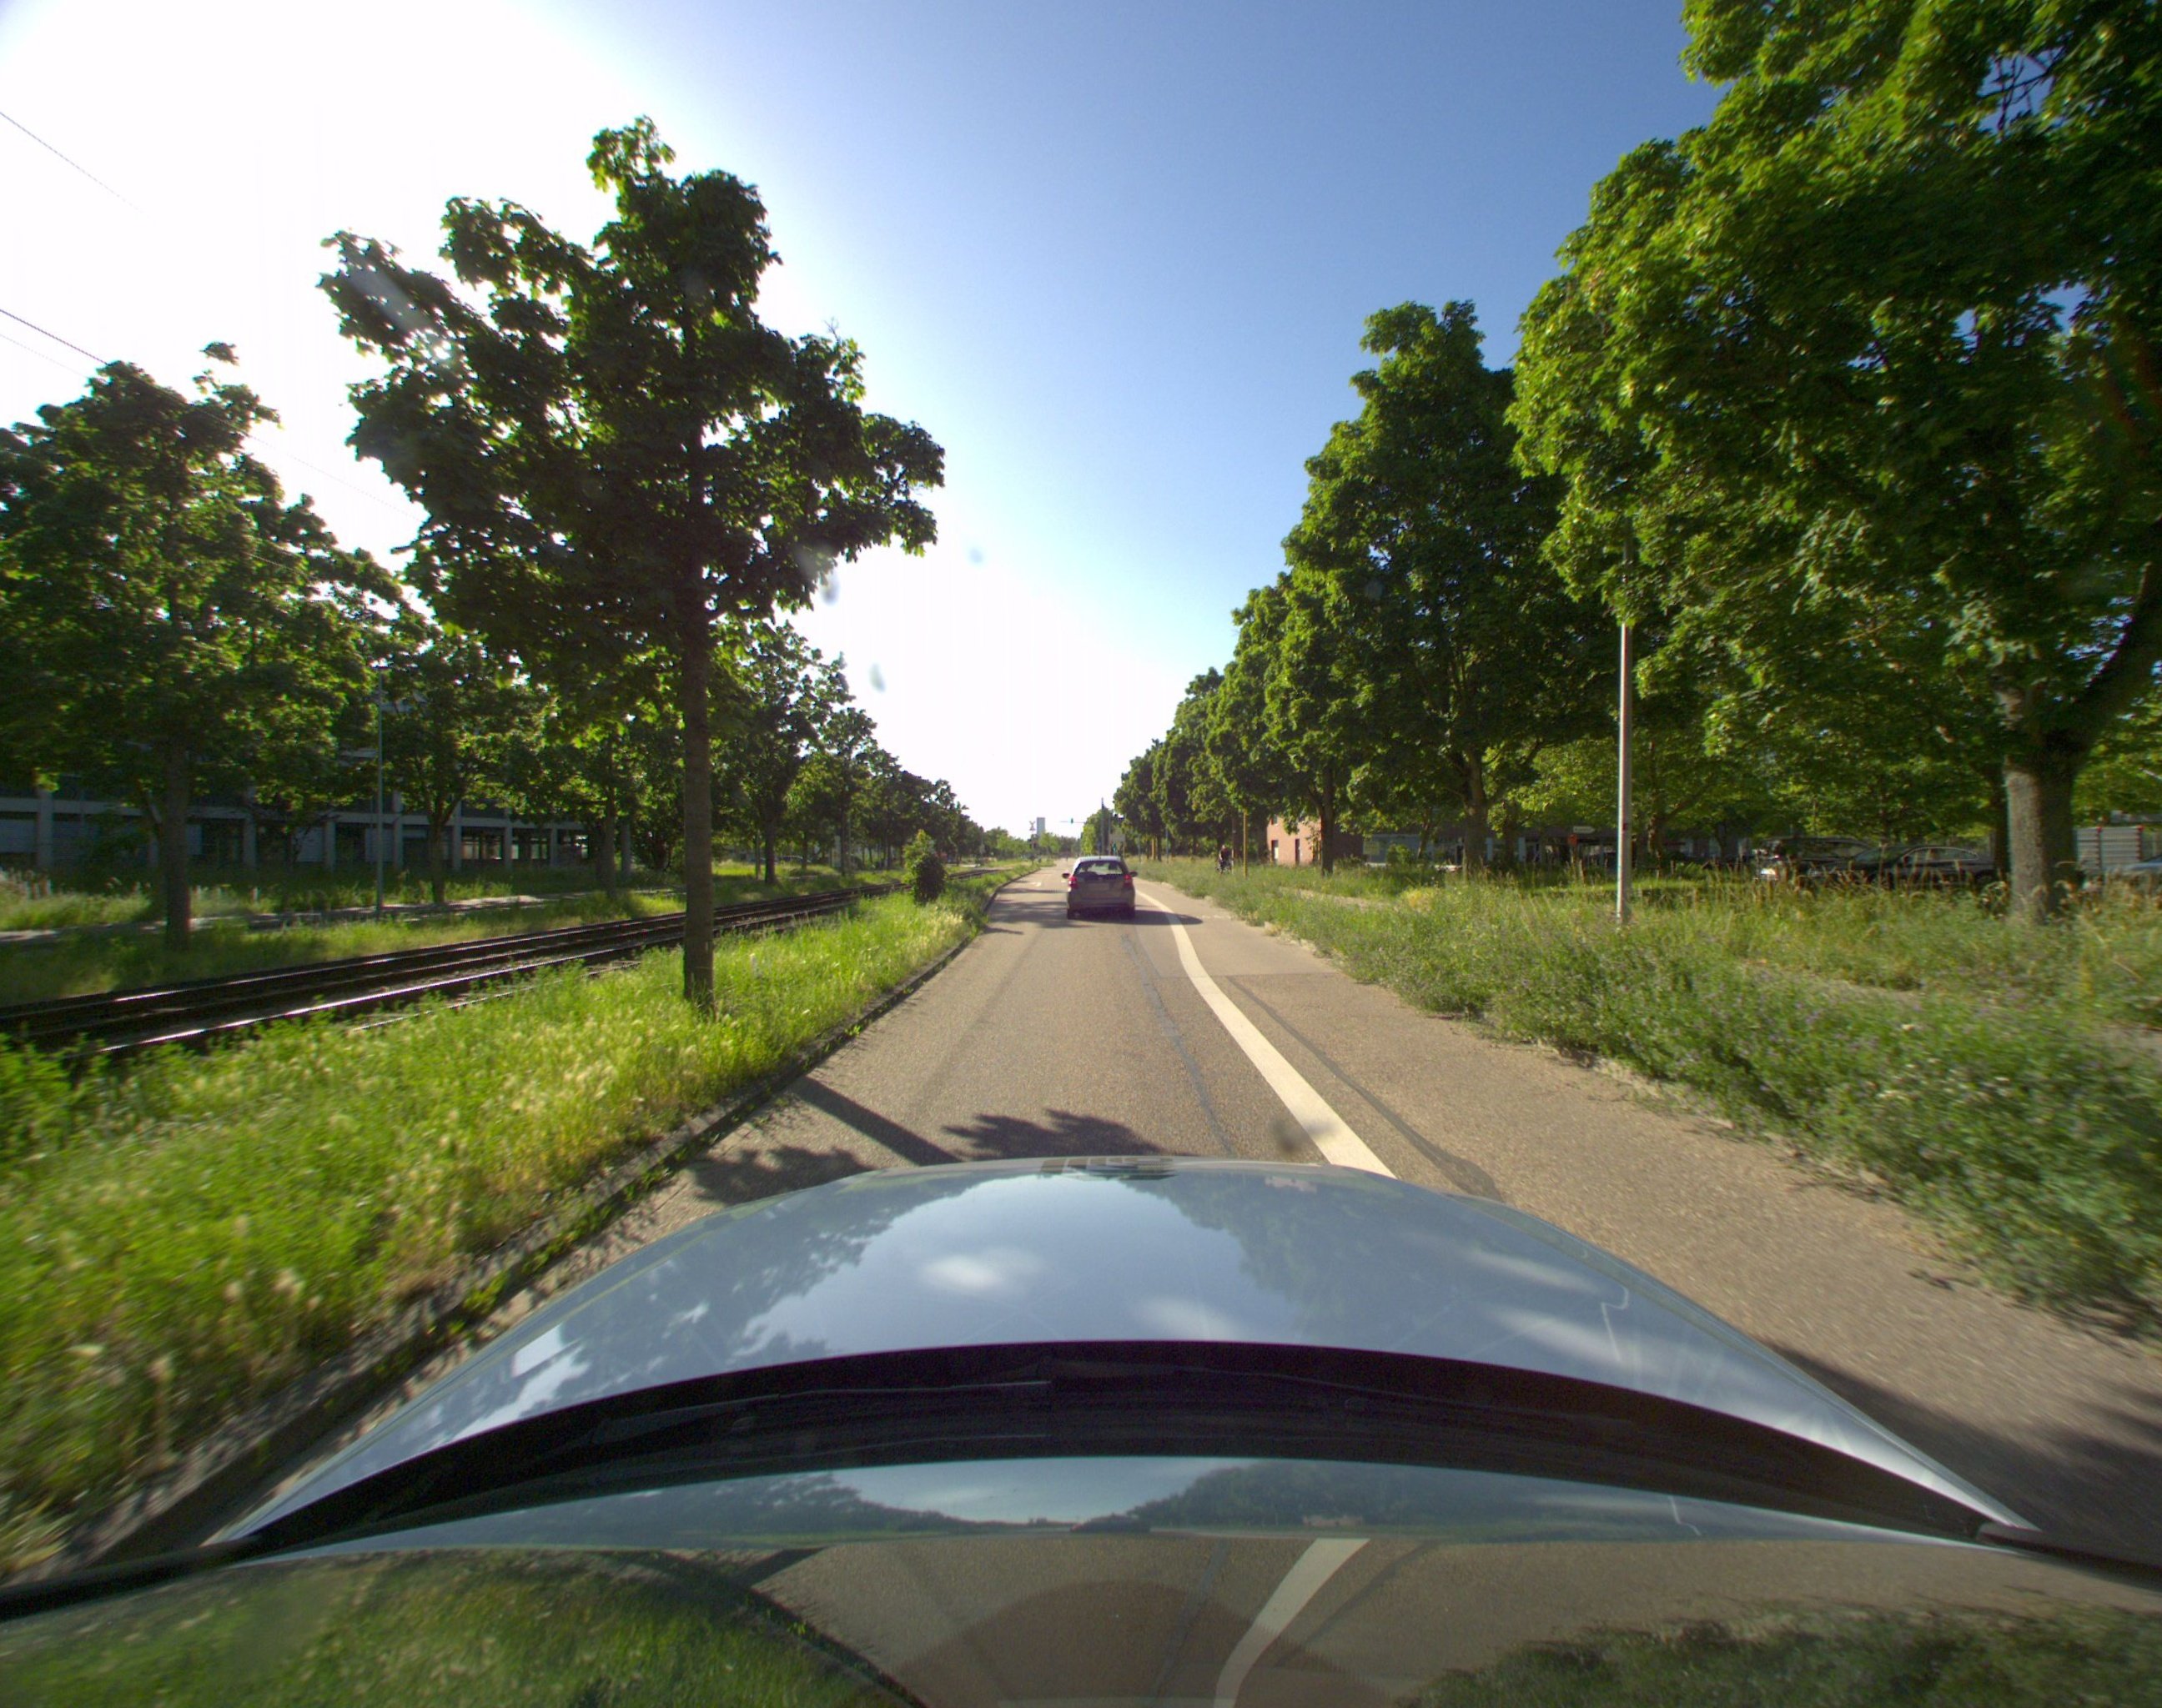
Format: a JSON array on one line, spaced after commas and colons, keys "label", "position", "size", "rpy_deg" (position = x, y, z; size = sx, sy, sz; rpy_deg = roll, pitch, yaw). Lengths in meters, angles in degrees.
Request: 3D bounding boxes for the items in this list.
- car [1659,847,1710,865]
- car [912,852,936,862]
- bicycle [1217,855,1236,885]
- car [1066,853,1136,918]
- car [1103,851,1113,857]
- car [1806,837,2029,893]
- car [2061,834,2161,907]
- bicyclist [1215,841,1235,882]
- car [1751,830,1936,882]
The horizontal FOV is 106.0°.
[{"label": "car", "position": [60.807, 0.184, 82.052], "size": [3.984, 1.828, 1.868], "rpy_deg": [0, 0, -8]}, {"label": "car", "position": [-32.116, 0.694, 166.576], "size": [1.837, 1.974, 4.817], "rpy_deg": [-1, 0, 39]}, {"label": "bicycle", "position": [6.219, 0.699, 34.924], "size": [0.481, 1.204, 2.144], "rpy_deg": [-1, -2, 2]}, {"label": "car", "position": [0.487, 0.746, 20.886], "size": [1.619, 1.499, 3.456], "rpy_deg": [-1, 0, 0]}, {"label": "car", "position": [5.842, 0.018, 177.677], "size": [1.771, 1.386, 3.863], "rpy_deg": [-1, 0, -5]}, {"label": "car", "position": [23.317, 0.310, 22.833], "size": [4.336, 1.459, 1.691], "rpy_deg": [-1, 0, 4]}, {"label": "car", "position": [23.152, 0.317, 16.525], "size": [4.146, 1.432, 1.827], "rpy_deg": [0, 0, 4]}, {"label": "bicyclist", "position": [6.195, 0.331, 35.050], "size": [0.681, 1.720, 0.902], "rpy_deg": [-1, -1, -1]}, {"label": "car", "position": [23.306, 0.059, 24.991], "size": [4.014, 1.505, 1.739], "rpy_deg": [-1, 0, 1]}]
